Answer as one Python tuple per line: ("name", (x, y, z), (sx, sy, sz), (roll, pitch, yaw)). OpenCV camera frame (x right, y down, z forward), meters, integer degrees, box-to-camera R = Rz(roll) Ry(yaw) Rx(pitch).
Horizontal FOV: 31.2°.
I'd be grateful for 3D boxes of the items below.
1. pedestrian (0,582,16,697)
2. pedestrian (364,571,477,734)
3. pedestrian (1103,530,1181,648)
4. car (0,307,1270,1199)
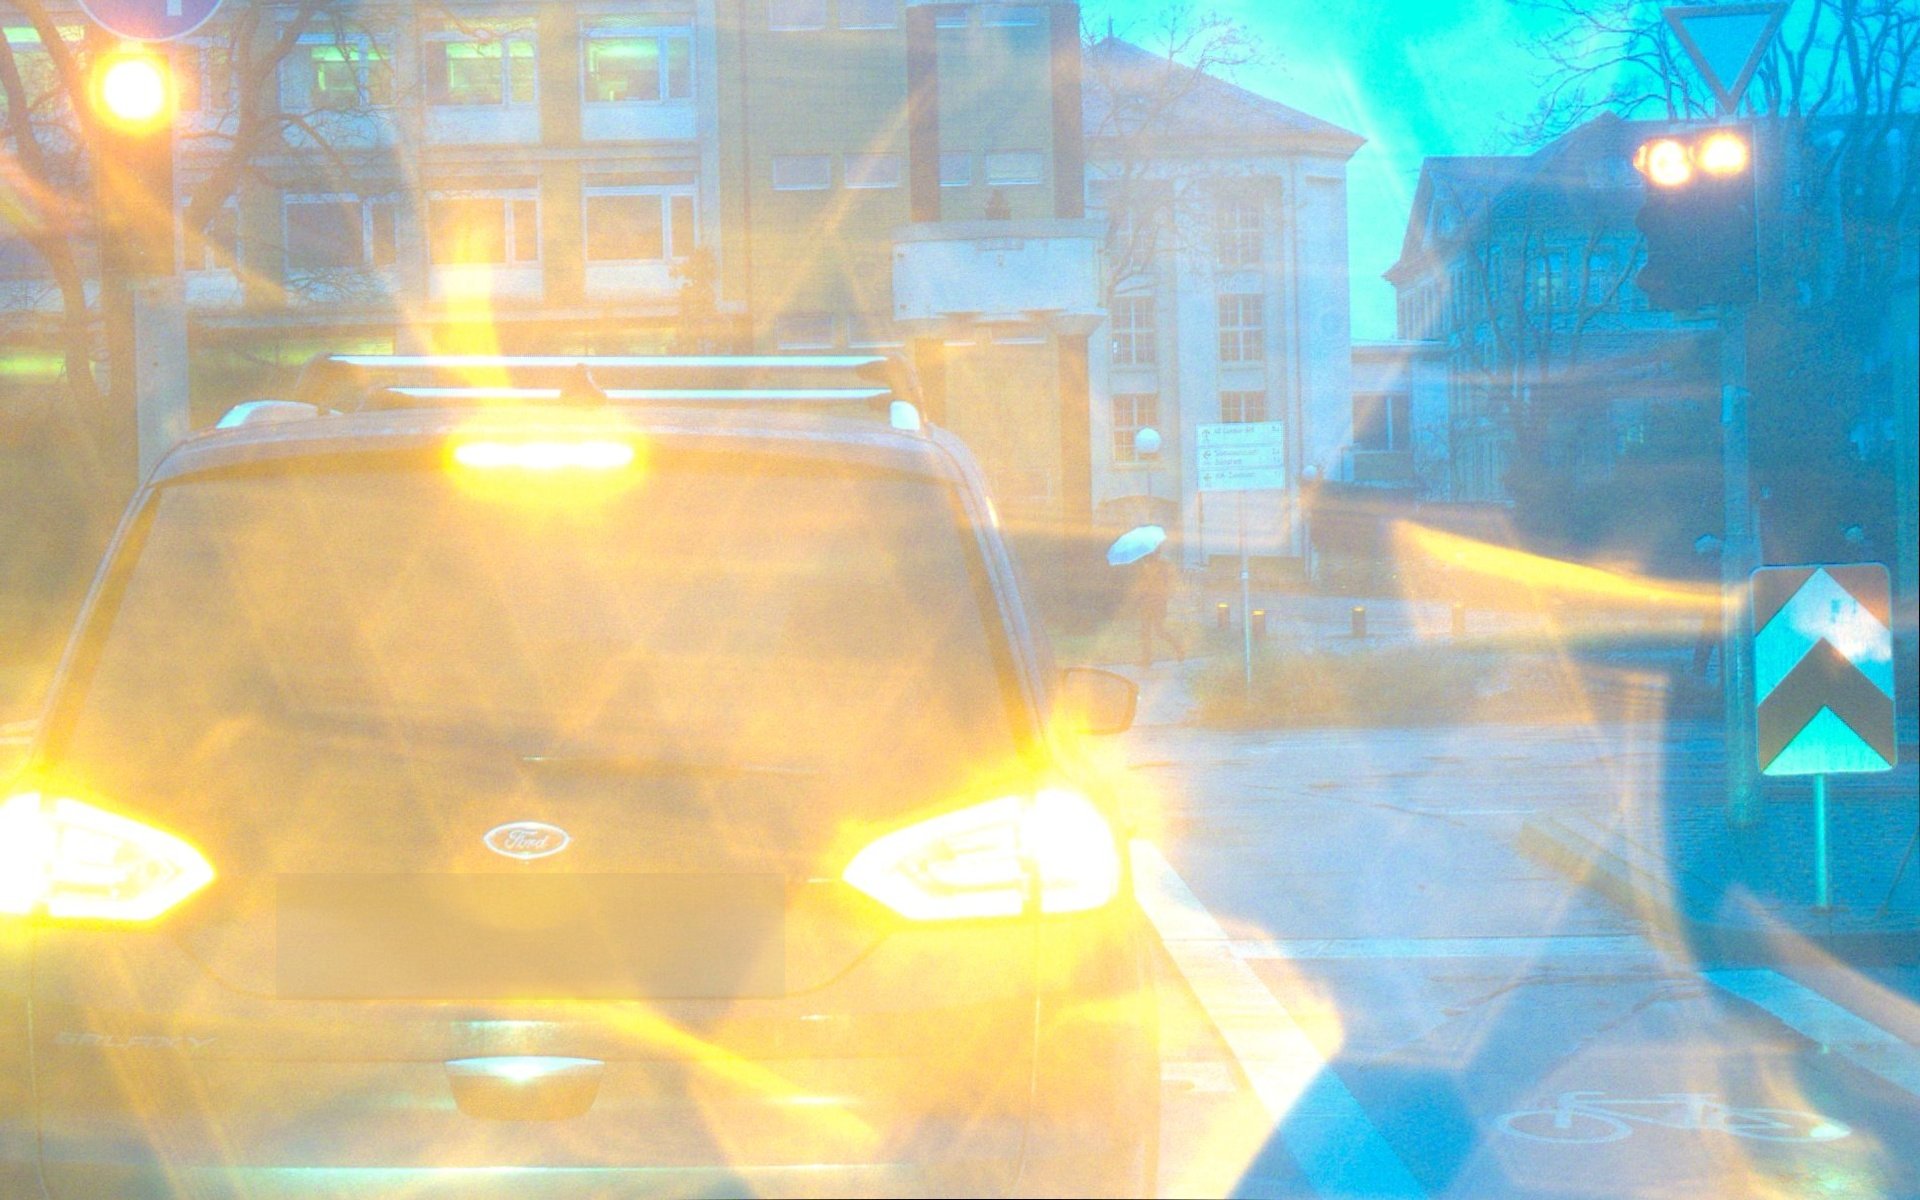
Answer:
("pedestrian", (-13.910, 0.568, 48.791), (0.760, 1.622, 0.557), (-2, 1, 14))
("pedestrian", (-6.776, 0.652, 43.210), (0.929, 1.971, 0.958), (-1, 2, 41))
("pedestrian", (2.574, -0.161, 48.579), (0.760, 1.622, 0.721), (-3, 1, -38))
("car", (-0.620, 0.492, 6.567), (1.993, 1.783, 4.000), (1, 1, -1))
